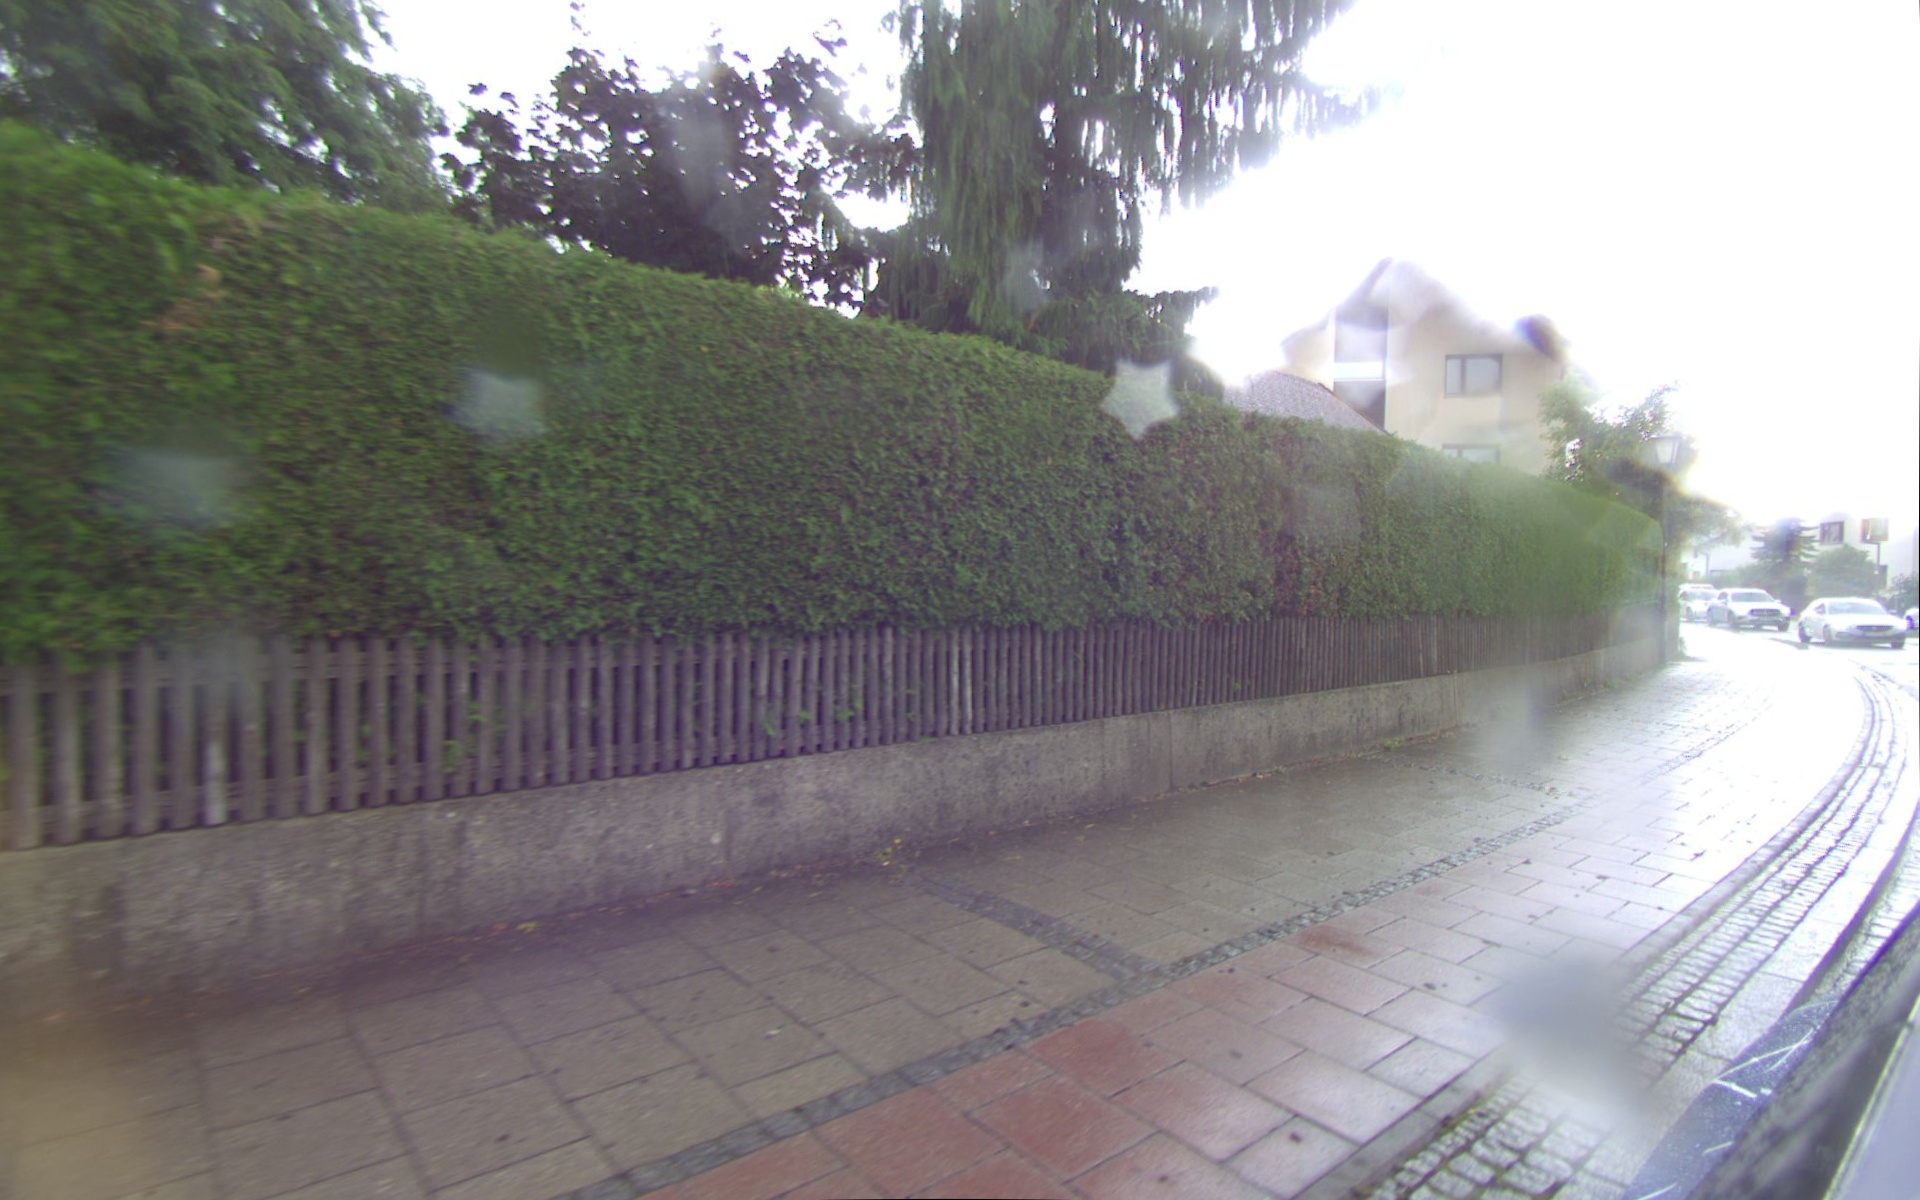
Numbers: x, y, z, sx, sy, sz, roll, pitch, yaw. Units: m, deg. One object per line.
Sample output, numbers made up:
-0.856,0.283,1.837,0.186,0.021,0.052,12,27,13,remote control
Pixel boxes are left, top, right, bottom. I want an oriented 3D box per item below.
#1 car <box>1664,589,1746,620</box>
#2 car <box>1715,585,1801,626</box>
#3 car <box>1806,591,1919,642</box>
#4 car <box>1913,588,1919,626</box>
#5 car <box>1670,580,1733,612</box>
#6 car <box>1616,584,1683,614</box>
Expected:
35.759,0.205,48.715,1.770,1.391,4.260,-1,0,16,car
32.703,0.194,41.594,1.776,1.568,4.245,-1,0,25,car
27.446,0.450,30.718,1.778,1.412,4.241,-1,0,27,car
36.715,0.297,36.875,1.603,1.462,3.646,0,1,21,car
43.172,-0.241,59.025,1.623,1.787,4.306,-1,0,18,car
37.883,-0.064,55.707,1.770,1.568,4.260,-1,0,16,car
